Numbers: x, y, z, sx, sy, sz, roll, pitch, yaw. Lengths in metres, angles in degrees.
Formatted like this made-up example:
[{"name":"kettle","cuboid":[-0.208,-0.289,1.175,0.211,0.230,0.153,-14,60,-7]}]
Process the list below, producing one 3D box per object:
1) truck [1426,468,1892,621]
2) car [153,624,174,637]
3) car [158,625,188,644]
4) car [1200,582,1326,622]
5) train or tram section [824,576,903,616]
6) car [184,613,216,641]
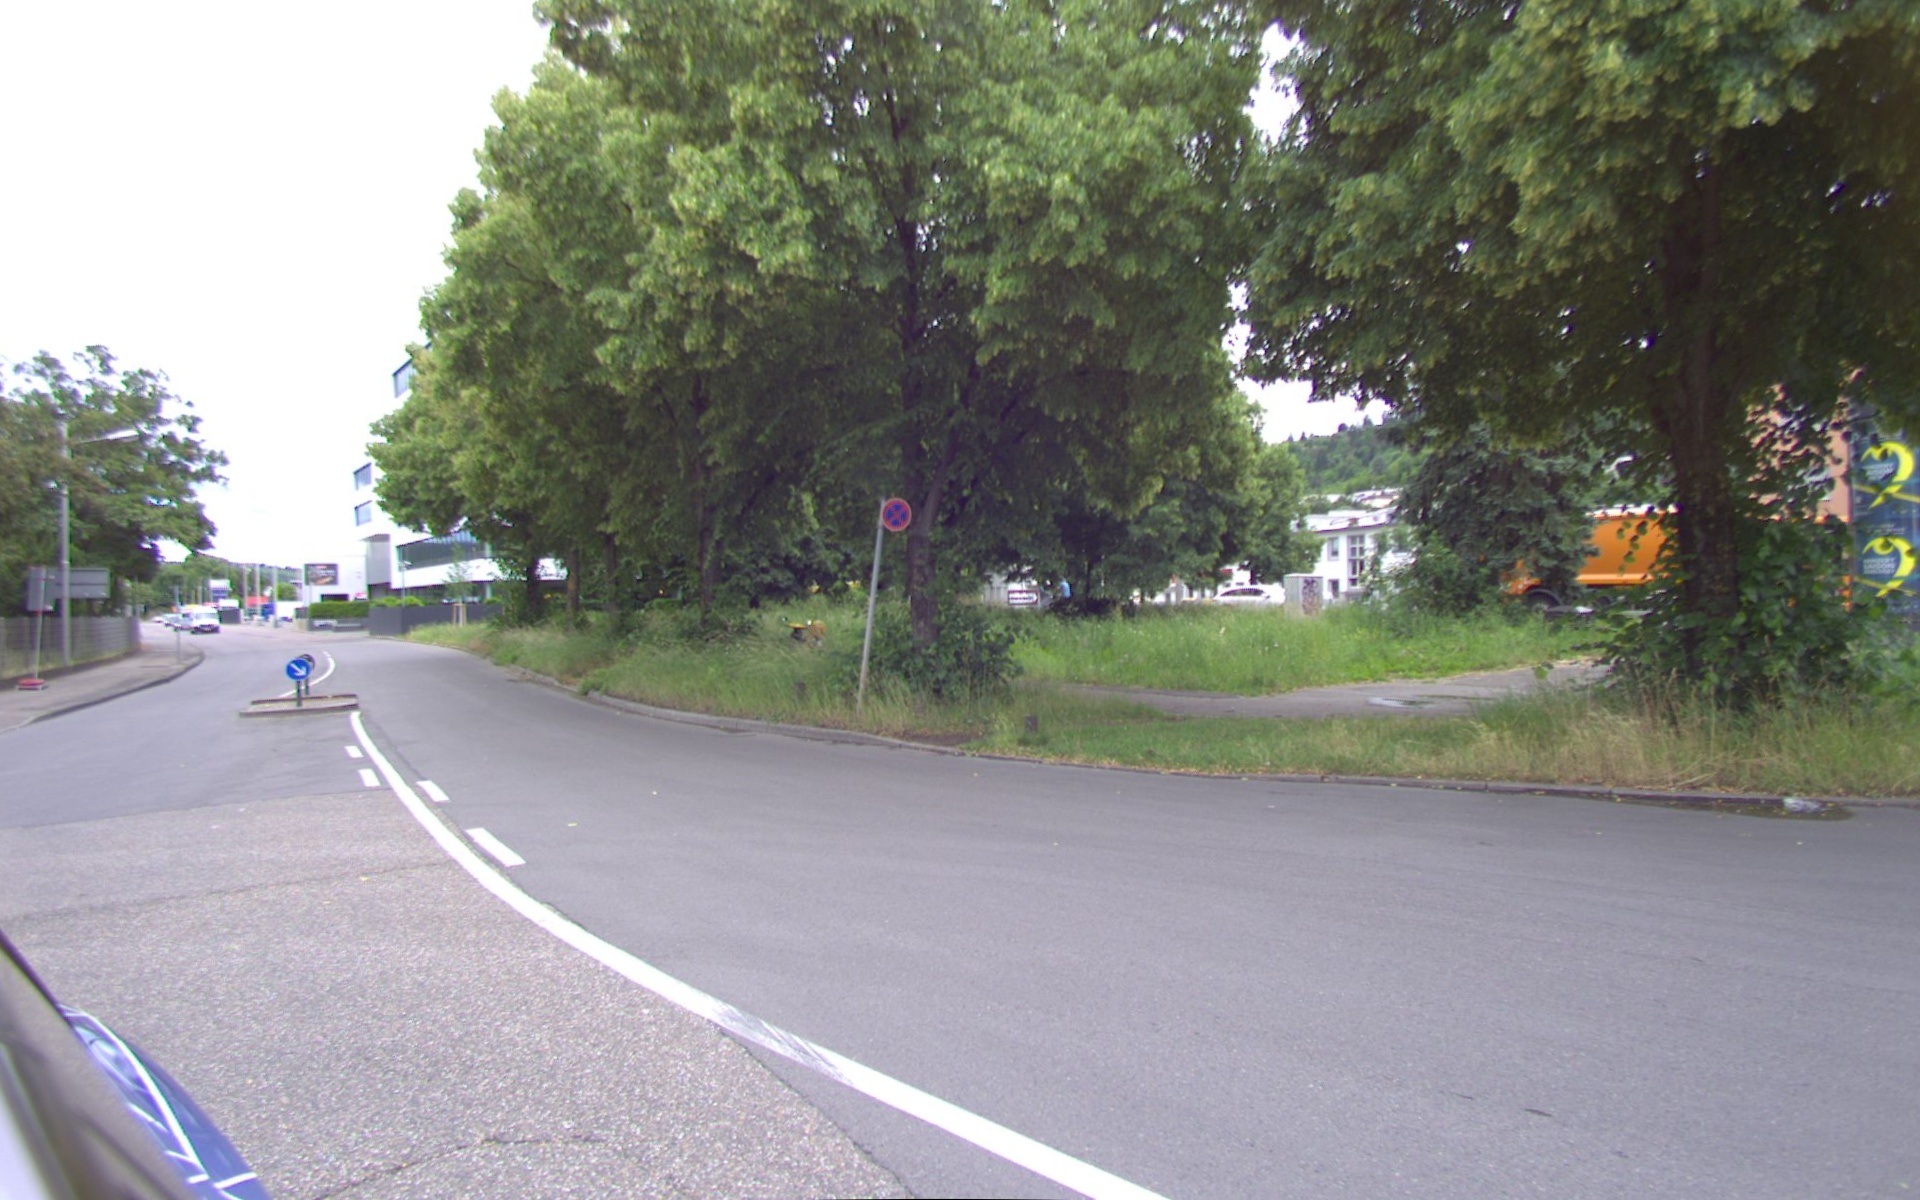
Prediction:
[{"name":"truck","cuboid":[18.847,-1.357,28.395,2.752,3.553,10.445,-2,1,-37]},{"name":"car","cuboid":[-120.787,4.615,153.545,2.351,1.884,5.218,-2,0,-37]},{"name":"car","cuboid":[-82.519,3.592,106.153,2.351,1.884,5.218,-2,0,-37]},{"name":"car","cuboid":[12.592,0.100,42.348,1.775,1.519,4.907,-2,0,-37]},{"name":"train or tram section","cuboid":[-10.394,-0.333,105.504,3.221,3.693,19.237,-1,0,-21]},{"name":"car","cuboid":[-73.078,2.576,97.316,2.351,2.477,6.113,-2,0,-37]}]
